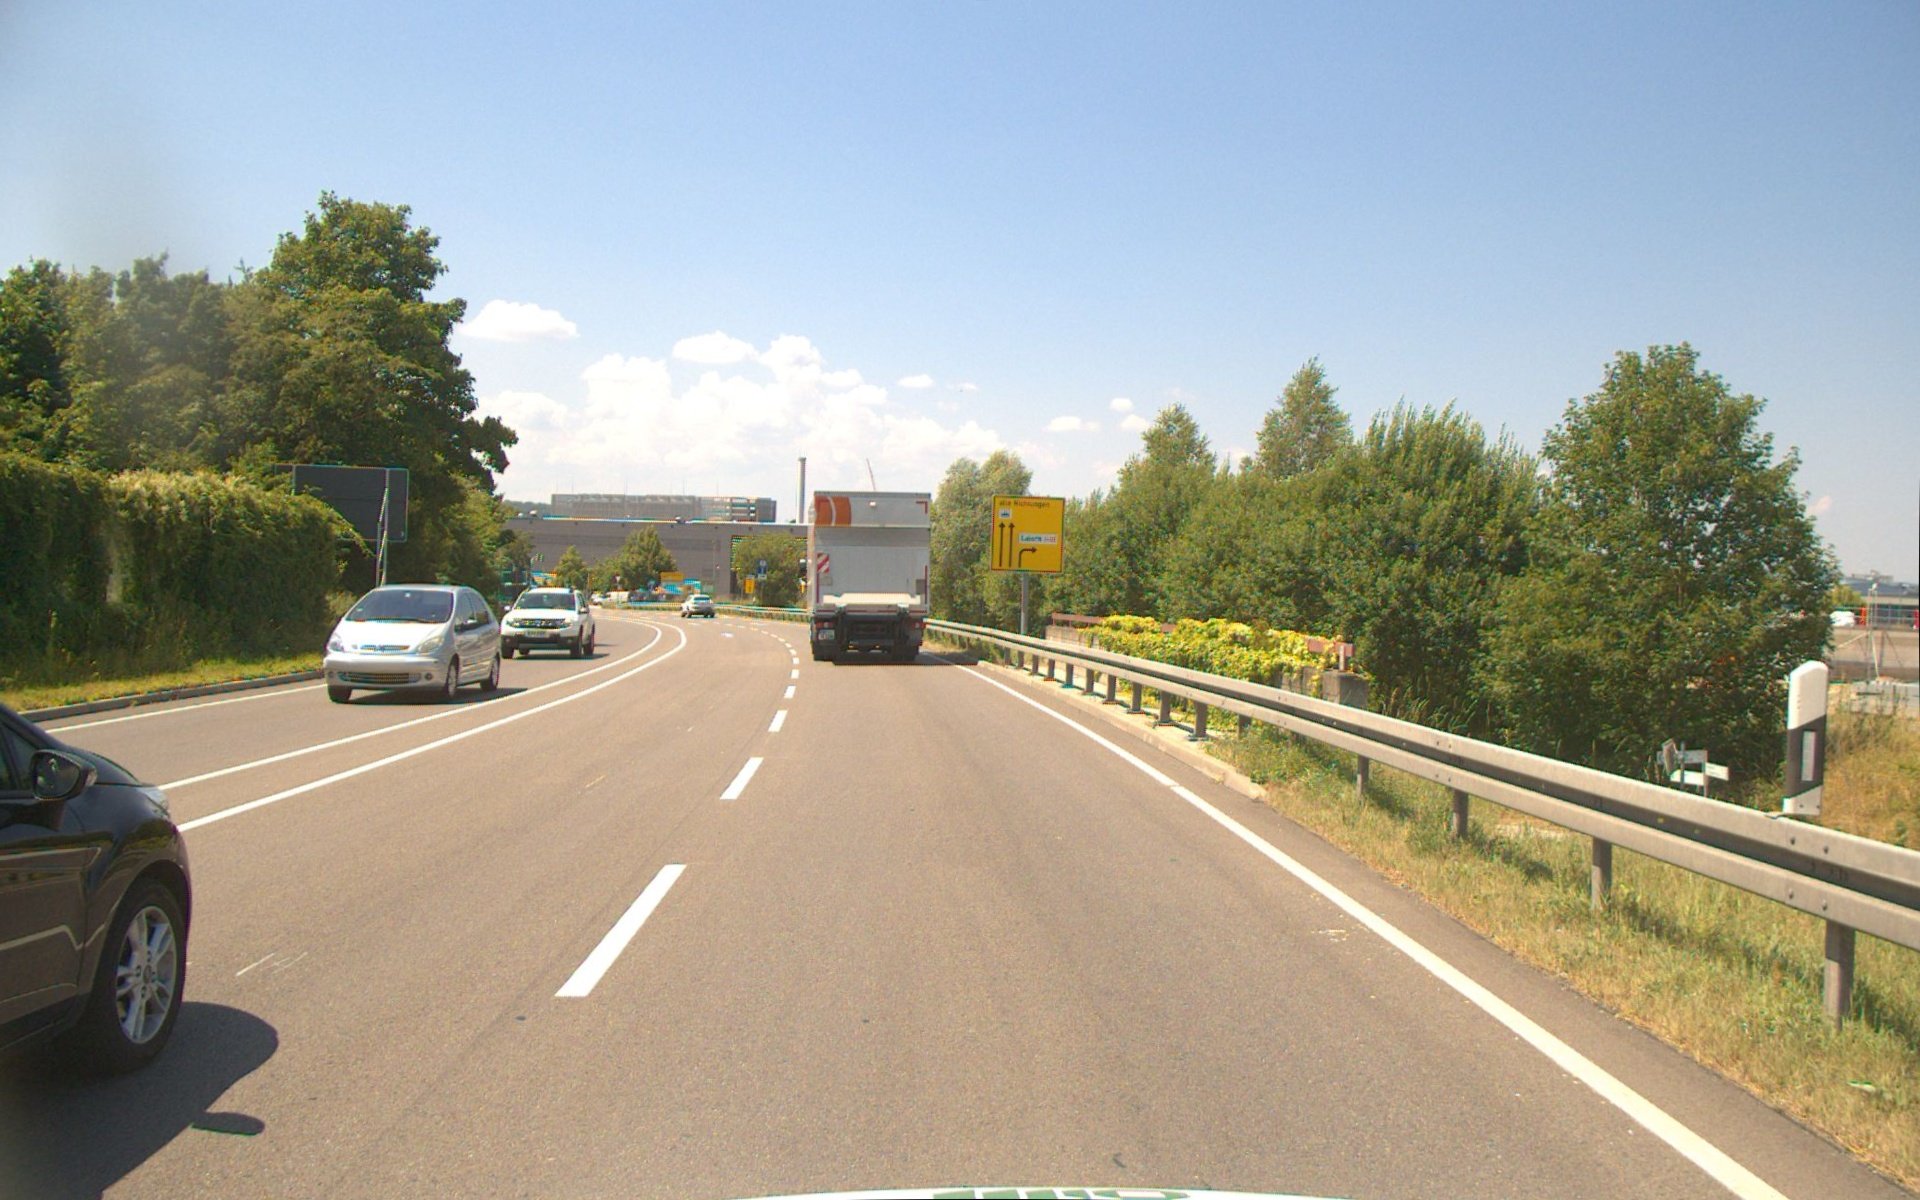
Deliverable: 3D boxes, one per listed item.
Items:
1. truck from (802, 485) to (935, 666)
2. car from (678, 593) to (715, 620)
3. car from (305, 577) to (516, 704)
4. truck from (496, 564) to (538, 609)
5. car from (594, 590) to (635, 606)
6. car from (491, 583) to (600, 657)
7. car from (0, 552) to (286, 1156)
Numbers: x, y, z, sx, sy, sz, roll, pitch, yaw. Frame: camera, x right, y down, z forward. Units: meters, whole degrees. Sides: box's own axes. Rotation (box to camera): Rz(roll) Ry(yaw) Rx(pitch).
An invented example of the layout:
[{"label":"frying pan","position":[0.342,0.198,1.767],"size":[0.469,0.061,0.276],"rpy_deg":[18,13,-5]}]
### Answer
[{"label":"truck","position":[-2.007,-0.568,39.343],"size":[2.746,3.775,9.106],"rpy_deg":[1,1,-1]},{"label":"car","position":[-17.856,0.409,111.960],"size":[1.912,1.693,3.982],"rpy_deg":[3,-1,-16]},{"label":"car","position":[-7.850,0.511,24.123],"size":[1.801,1.620,4.812],"rpy_deg":[2,0,-5]},{"label":"truck","position":[-37.287,-1.093,138.995],"size":[2.825,3.636,9.381],"rpy_deg":[0,0,-18]},{"label":"car","position":[-43.094,-0.259,206.364],"size":[4.651,1.966,2.152],"rpy_deg":[0,0,-4]},{"label":"car","position":[-9.708,0.437,38.988],"size":[1.955,1.657,4.190],"rpy_deg":[0,0,-7]},{"label":"car","position":[-3.215,0.636,3.865],"size":[1.619,1.519,4.207],"rpy_deg":[1,1,-1]}]
